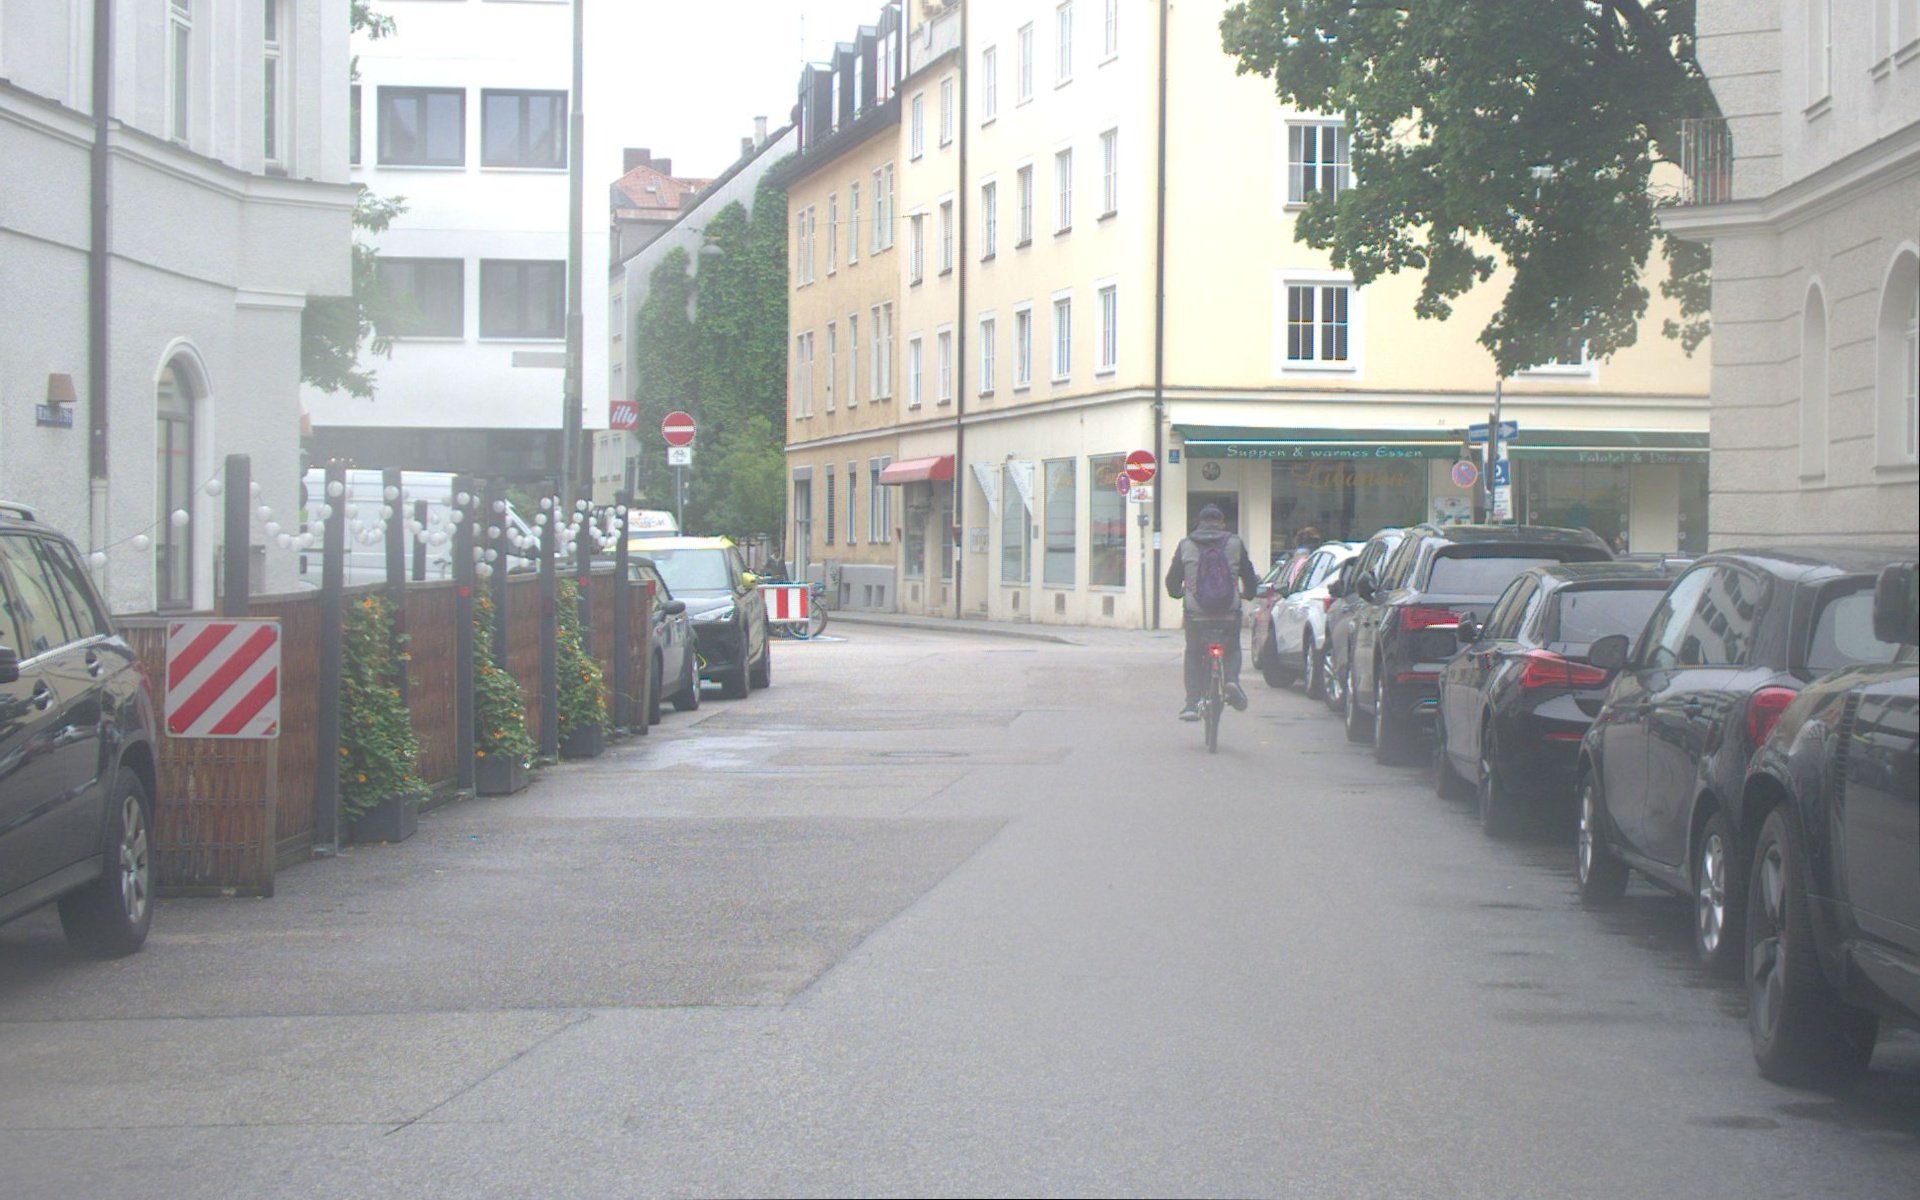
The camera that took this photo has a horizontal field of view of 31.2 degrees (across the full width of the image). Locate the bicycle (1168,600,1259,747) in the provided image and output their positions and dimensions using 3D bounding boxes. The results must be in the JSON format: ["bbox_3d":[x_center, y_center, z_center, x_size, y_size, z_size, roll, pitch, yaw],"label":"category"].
[{"bbox_3d":[1.827,0.512,24.861,0.639,1.001,1.574,0,1,4],"label":"bicycle"}]

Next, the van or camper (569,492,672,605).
[{"bbox_3d":[-7.850,-1.192,79.133,1.993,2.531,4.762,0,1,-10],"label":"van or camper"}]

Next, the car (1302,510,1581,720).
[{"bbox_3d":[4.138,0.079,30.187,1.789,1.707,4.427,0,1,-1],"label":"car"}]

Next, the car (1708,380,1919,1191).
[{"bbox_3d":[3.201,0.464,7.718,1.911,1.879,4.714,2,1,0],"label":"car"}]

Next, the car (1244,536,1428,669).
[{"bbox_3d":[4.351,-0.007,40.322,1.669,1.430,4.214,1,1,0],"label":"car"}]

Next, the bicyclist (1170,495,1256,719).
[{"bbox_3d":[1.831,0.039,24.935,0.606,1.601,0.757,0,1,4],"label":"bicyclist"}]

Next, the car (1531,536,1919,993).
[{"bbox_3d":[3.389,0.537,13.543,1.655,1.520,3.637,1,2,0],"label":"car"}]

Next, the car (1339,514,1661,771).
[{"bbox_3d":[3.765,0.227,24.649,1.777,1.630,4.375,1,1,3],"label":"car"}]

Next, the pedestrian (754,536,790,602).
[{"bbox_3d":[-5.065,-0.842,92.726,0.877,1.772,0.774,0,1,-11],"label":"pedestrian"}]

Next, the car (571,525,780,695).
[{"bbox_3d":[-2.860,0.073,35.272,1.676,1.591,3.945,-2,1,2],"label":"car"}]

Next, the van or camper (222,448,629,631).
[{"bbox_3d":[-7.945,-0.881,51.355,5.903,2.668,1.873,0,-1,-8],"label":"van or camper"}]

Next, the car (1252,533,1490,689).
[{"bbox_3d":[4.131,0.068,35.076,1.750,1.491,3.910,0,1,-3],"label":"car"}]

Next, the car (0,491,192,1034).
[{"bbox_3d":[-3.876,0.519,11.324,1.746,1.667,4.276,-3,2,-1],"label":"car"}]

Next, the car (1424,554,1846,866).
[{"bbox_3d":[3.580,0.509,18.909,1.707,1.466,4.201,0,1,3],"label":"car"}]

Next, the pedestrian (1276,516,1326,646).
[{"bbox_3d":[4.382,-0.245,44.186,0.611,1.655,0.551,0,1,4],"label":"pedestrian"}]

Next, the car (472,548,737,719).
[{"bbox_3d":[-3.125,0.253,30.949,1.707,1.385,4.000,-1,1,4],"label":"car"}]
